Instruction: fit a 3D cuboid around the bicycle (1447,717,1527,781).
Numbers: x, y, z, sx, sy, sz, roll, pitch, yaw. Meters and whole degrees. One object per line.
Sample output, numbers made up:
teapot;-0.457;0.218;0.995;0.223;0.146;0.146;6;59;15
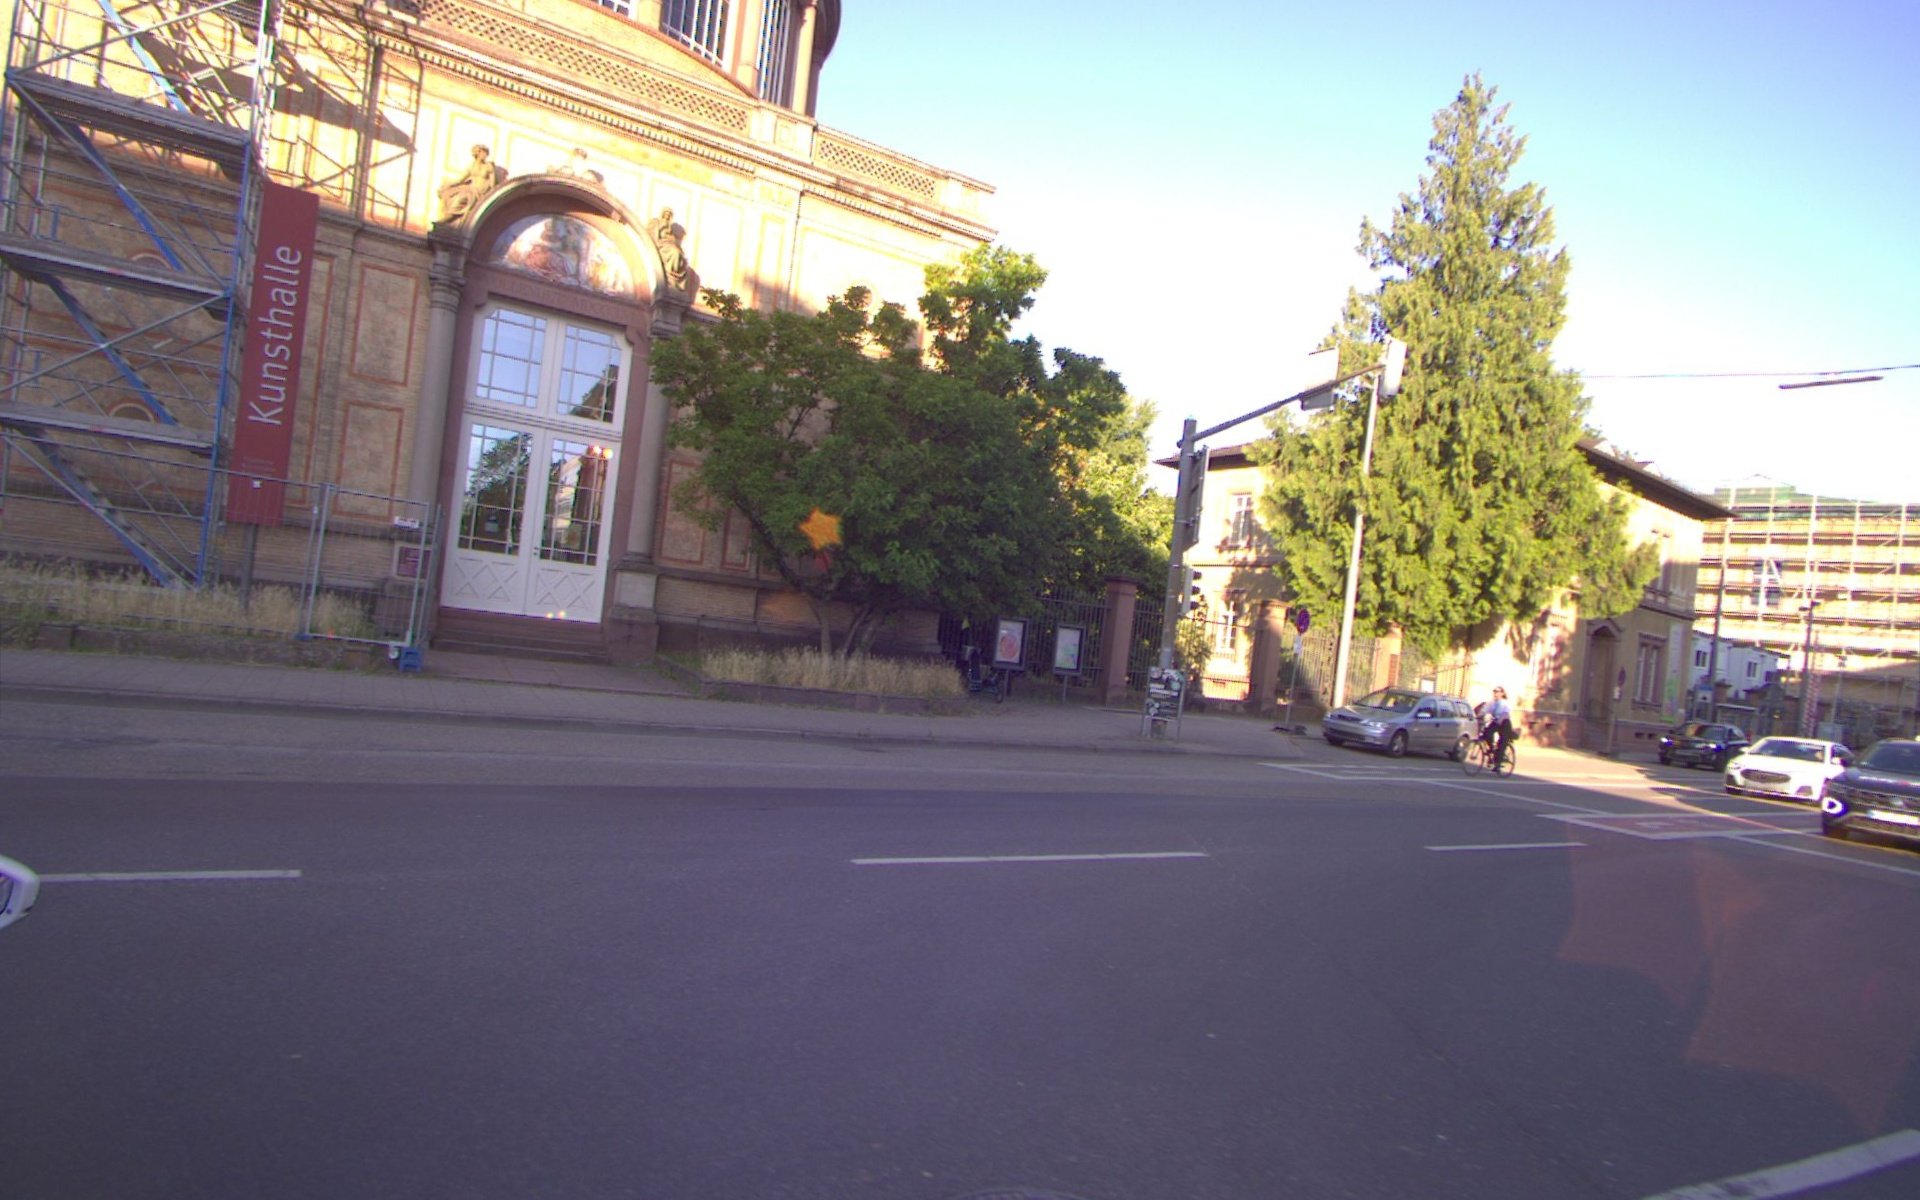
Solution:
bicycle;10.331;2.928;19.711;1.648;1.113;0.493;7;-3;-28

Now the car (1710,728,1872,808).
car;18.737;3.779;22.650;3.987;1.407;1.818;8;-3;-36

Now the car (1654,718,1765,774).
car;25.522;4.983;34.217;4.041;1.509;1.818;8;-3;-36

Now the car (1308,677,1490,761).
car;9.951;2.698;22.701;4.159;1.462;1.700;8;-2;-34

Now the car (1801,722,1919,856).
car;14.270;2.817;14.870;4.041;1.631;1.818;8;-2;-36

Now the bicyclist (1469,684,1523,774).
bicyclist;10.557;2.528;19.808;0.514;1.663;0.663;6;-2;-27

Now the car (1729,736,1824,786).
car;30.224;5.959;37.189;4.041;1.509;1.673;8;-2;-36
